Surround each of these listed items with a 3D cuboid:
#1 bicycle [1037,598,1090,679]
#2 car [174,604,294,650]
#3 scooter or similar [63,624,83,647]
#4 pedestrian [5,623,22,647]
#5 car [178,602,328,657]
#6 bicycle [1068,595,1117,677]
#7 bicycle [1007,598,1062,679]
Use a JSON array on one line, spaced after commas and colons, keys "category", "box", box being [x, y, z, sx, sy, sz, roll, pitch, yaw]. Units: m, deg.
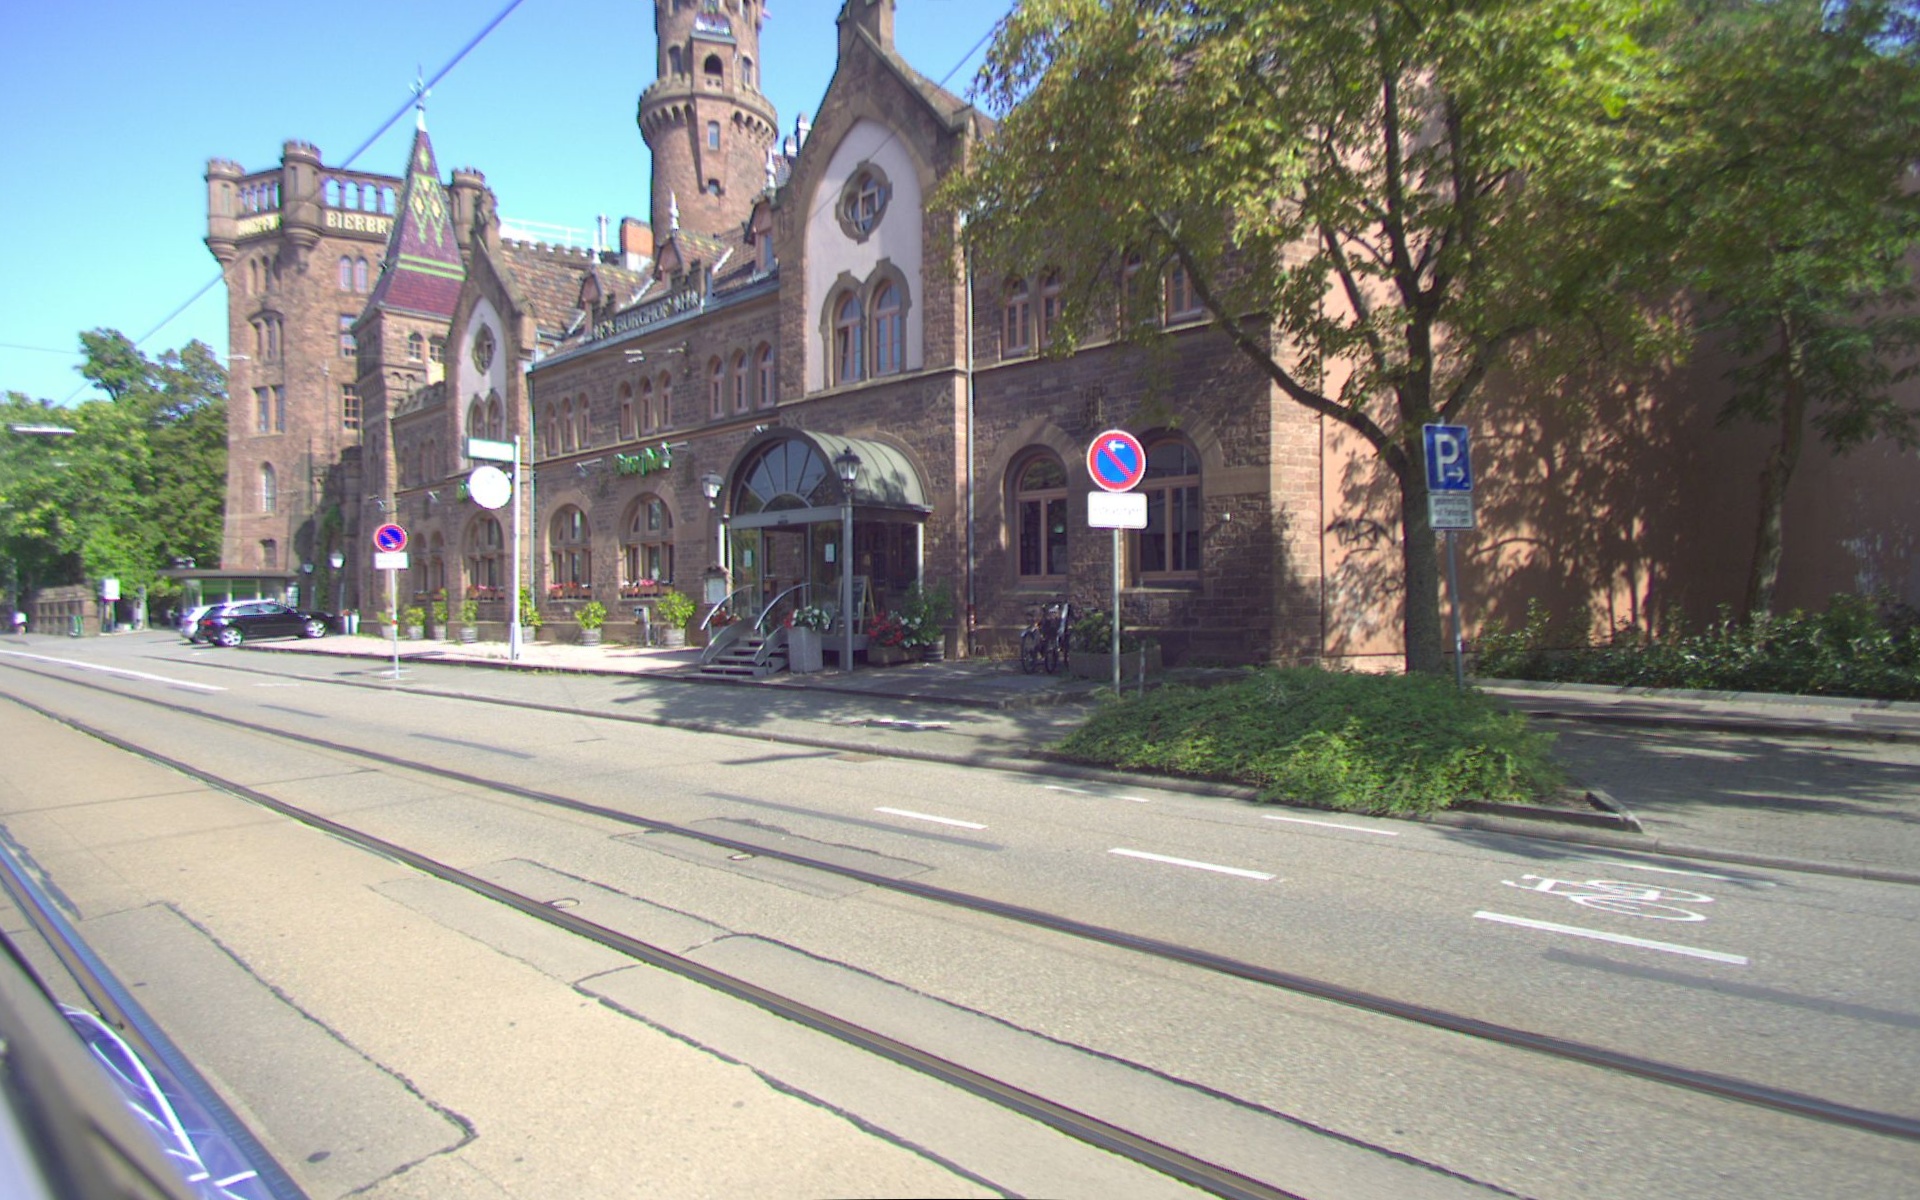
[{"category": "bicycle", "box": [1.651, 0.573, 15.920, 0.418, 1.082, 1.798, -1, 4, 18]}, {"category": "car", "box": [-31.419, 1.156, 43.858, 1.822, 1.607, 3.858, -2, 3, 43]}, {"category": "scooter or similar", "box": [-47.851, 1.897, 54.618, 0.280, 1.157, 0.816, -1, 2, 4]}, {"category": "pedestrian", "box": [-62.402, 2.299, 66.724, 0.774, 1.601, 0.708, -1, -1, 40]}, {"category": "car", "box": [-27.361, 1.095, 39.263, 1.956, 1.657, 4.352, -1, 4, 41]}, {"category": "bicycle", "box": [2.085, 0.524, 15.763, 0.418, 1.082, 1.798, -1, 4, 18]}, {"category": "bicycle", "box": [1.204, 0.579, 16.054, 0.418, 1.082, 1.798, -1, 4, 18]}]
